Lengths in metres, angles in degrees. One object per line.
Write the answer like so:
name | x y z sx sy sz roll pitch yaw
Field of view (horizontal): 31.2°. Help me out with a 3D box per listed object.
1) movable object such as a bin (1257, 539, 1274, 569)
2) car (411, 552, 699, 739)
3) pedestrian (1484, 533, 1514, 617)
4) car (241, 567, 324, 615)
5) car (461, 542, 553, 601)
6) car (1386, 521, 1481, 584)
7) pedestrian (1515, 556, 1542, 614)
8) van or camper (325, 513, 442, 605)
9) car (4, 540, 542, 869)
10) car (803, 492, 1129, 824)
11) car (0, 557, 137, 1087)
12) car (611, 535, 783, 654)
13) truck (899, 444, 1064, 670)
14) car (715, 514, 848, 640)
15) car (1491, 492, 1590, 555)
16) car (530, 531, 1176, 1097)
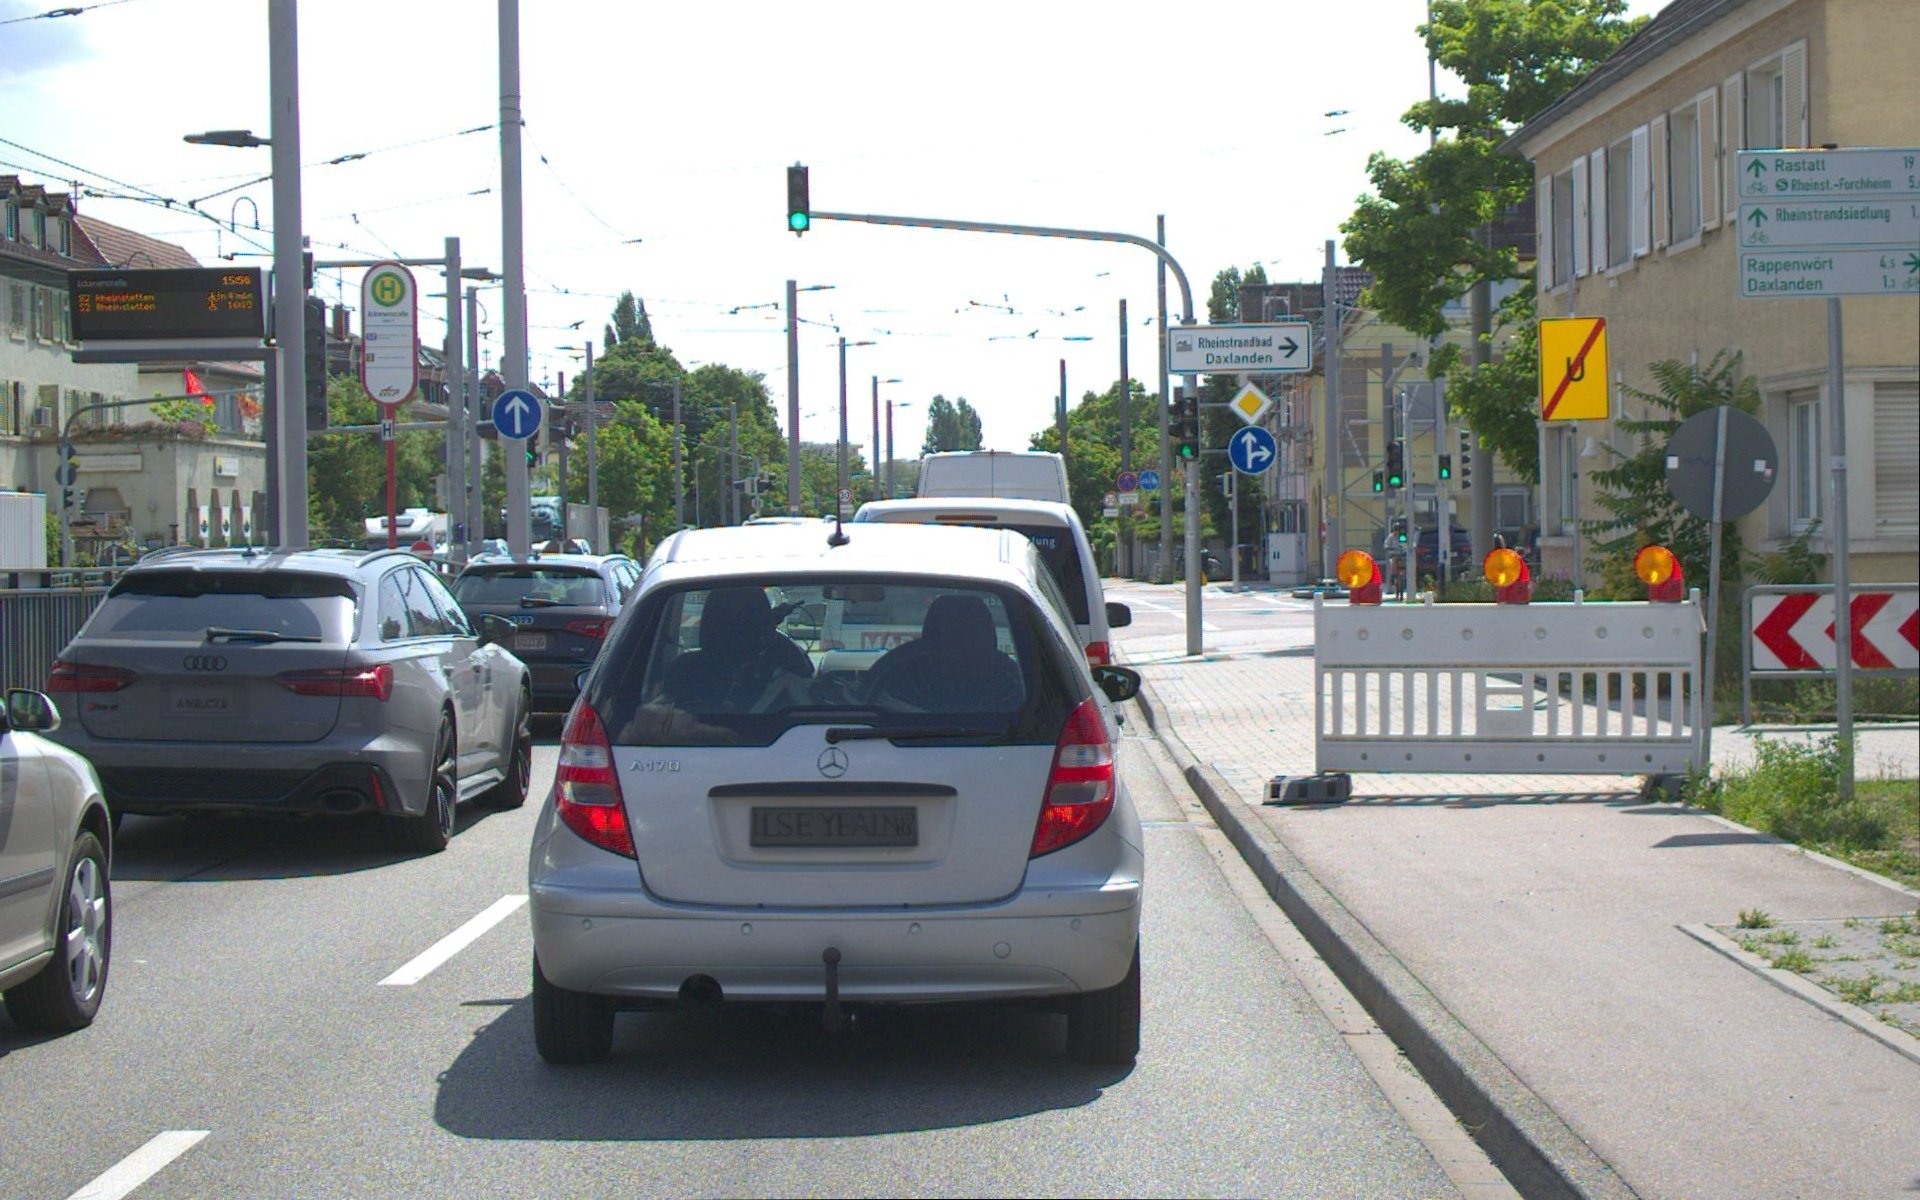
movable object such as a bin | 9.531 -1.428 107.200 0.468 0.943 0.558 -1 0 1
car | -3.222 0.325 28.151 1.852 1.383 4.514 1 1 -1
pedestrian | 10.610 -0.486 67.696 0.547 1.638 0.401 1 0 6
car | -19.662 -0.276 99.892 1.684 1.347 4.345 1 1 -2
car | -14.750 -0.950 112.202 1.994 1.770 4.878 -2 1 4
car | 12.426 -1.238 90.479 1.993 1.590 4.131 1 1 1
pedestrian | 11.204 -0.303 67.780 0.488 1.132 0.389 1 0 5
van or camper | -19.176 -1.391 114.778 2.324 2.920 7.754 -2 1 2
car | -3.391 0.443 17.870 1.916 1.472 4.562 1 1 -1
car | -0.008 0.293 20.440 1.730 1.756 4.017 1 0 -1
car | -3.469 0.599 8.883 1.731 1.444 4.123 1 1 -1
car | -3.212 -0.087 42.652 1.852 1.383 3.919 1 1 -1
truck | 0.212 -0.512 41.985 1.852 2.543 5.855 1 0 -1
car | -2.700 -0.357 52.758 1.852 1.837 3.919 1 0 -1
car | 15.264 -1.993 90.585 1.993 1.590 4.131 1 1 1
car | -0.330 0.550 11.308 1.730 1.511 4.017 1 1 -1
